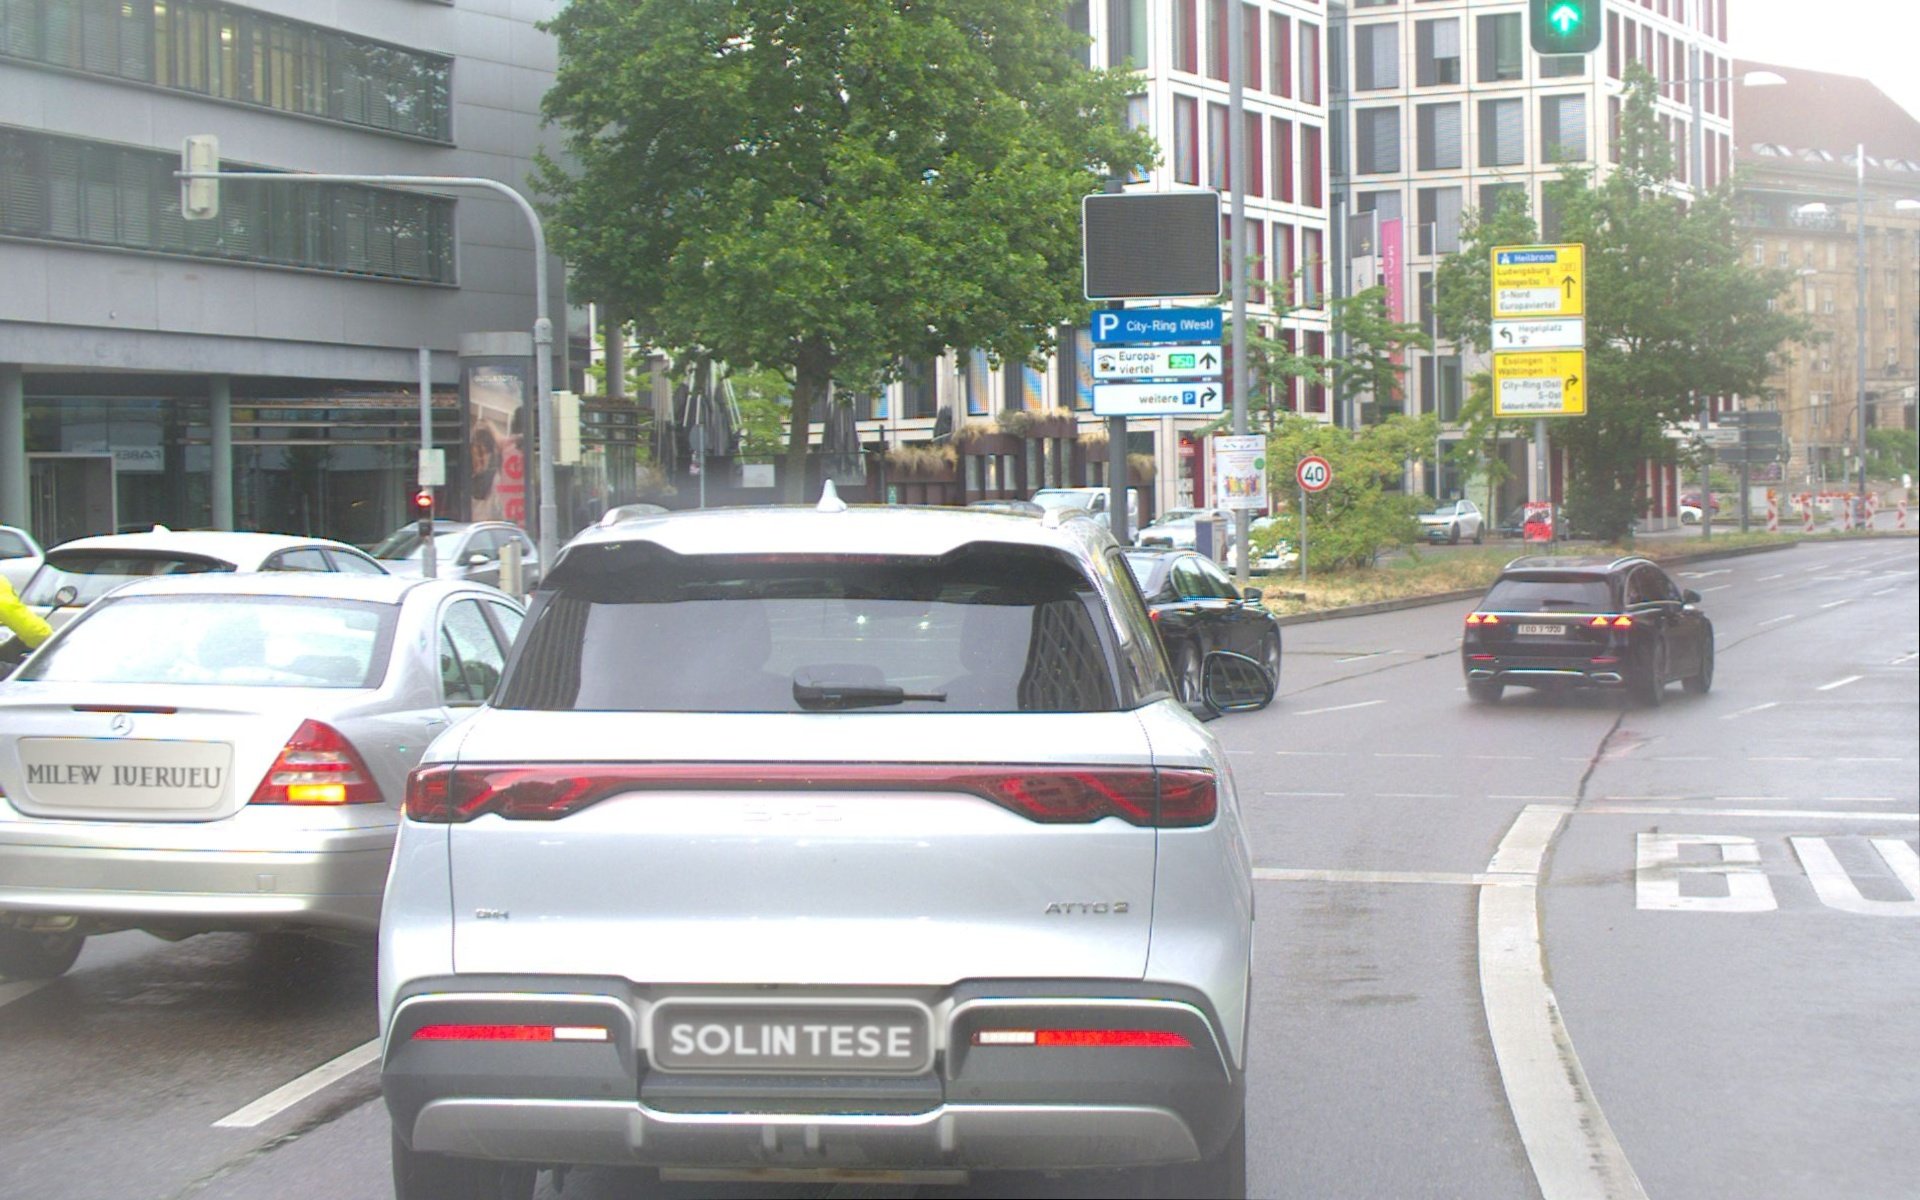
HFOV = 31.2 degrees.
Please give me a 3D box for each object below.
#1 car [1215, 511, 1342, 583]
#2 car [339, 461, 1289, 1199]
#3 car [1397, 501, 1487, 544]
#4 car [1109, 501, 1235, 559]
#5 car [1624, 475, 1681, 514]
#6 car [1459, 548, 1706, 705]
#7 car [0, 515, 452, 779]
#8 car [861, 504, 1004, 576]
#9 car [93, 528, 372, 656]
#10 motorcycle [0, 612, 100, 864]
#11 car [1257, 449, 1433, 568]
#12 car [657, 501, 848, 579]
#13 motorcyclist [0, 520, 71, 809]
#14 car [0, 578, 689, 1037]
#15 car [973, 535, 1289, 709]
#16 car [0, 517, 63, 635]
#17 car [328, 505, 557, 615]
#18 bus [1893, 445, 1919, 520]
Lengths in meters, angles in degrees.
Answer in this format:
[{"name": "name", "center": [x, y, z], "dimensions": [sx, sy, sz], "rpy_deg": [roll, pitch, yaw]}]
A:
[{"name": "car", "center": [6.681, -1.125, 71.814], "dimensions": [1.633, 1.432, 3.904], "rpy_deg": [0, 2, 21]}, {"name": "car", "center": [-0.206, 0.576, 8.474], "dimensions": [1.776, 1.673, 4.000], "rpy_deg": [1, 0, 2]}, {"name": "car", "center": [16.894, -2.723, 120.326], "dimensions": [1.996, 1.483, 3.995], "rpy_deg": [0, 2, 25]}, {"name": "car", "center": [5.641, -1.874, 90.964], "dimensions": [1.996, 1.483, 3.995], "rpy_deg": [0, 2, 25]}, {"name": "car", "center": [32.530, -4.930, 161.444], "dimensions": [1.609, 1.735, 3.439], "rpy_deg": [1, 0, 30]}, {"name": "car", "center": [6.358, 0.248, 34.807], "dimensions": [1.695, 1.481, 3.995], "rpy_deg": [1, 0, 22]}, {"name": "car", "center": [-4.694, 0.253, 21.500], "dimensions": [1.708, 1.481, 3.998], "rpy_deg": [1, 0, 12]}, {"name": "car", "center": [-0.582, -1.379, 77.567], "dimensions": [1.633, 1.553, 4.588], "rpy_deg": [0, 2, 21]}, {"name": "car", "center": [-8.276, -0.094, 39.444], "dimensions": [1.691, 1.380, 3.866], "rpy_deg": [1, 0, 12]}, {"name": "motorcycle", "center": [-4.911, 0.656, 16.588], "dimensions": [0.800, 1.180, 2.028], "rpy_deg": [1, 0, 6]}, {"name": "car", "center": [6.989, -1.616, 62.019], "dimensions": [1.996, 2.007, 4.843], "rpy_deg": [1, 0, 21]}, {"name": "car", "center": [-4.146, -1.239, 69.551], "dimensions": [1.815, 1.505, 5.190], "rpy_deg": [0, 2, 22]}, {"name": "motorcyclist", "center": [-4.900, 0.299, 16.667], "dimensions": [0.770, 1.375, 1.118], "rpy_deg": [1, 0, 7]}, {"name": "car", "center": [-2.294, 0.634, 12.780], "dimensions": [1.571, 1.402, 4.107], "rpy_deg": [1, 0, 10]}, {"name": "car", "center": [1.635, 0.183, 31.464], "dimensions": [1.572, 1.481, 3.995], "rpy_deg": [1, 0, 23]}, {"name": "car", "center": [-13.660, -0.334, 45.850], "dimensions": [1.639, 1.565, 3.716], "rpy_deg": [1, 0, 15]}, {"name": "car", "center": [-7.669, -0.608, 51.300], "dimensions": [1.645, 1.575, 4.082], "rpy_deg": [1, 1, 19]}, {"name": "bus", "center": [60.368, -6.431, 188.963], "dimensions": [16.986, 4.049, 4.432], "rpy_deg": [1, 0, 25]}]
